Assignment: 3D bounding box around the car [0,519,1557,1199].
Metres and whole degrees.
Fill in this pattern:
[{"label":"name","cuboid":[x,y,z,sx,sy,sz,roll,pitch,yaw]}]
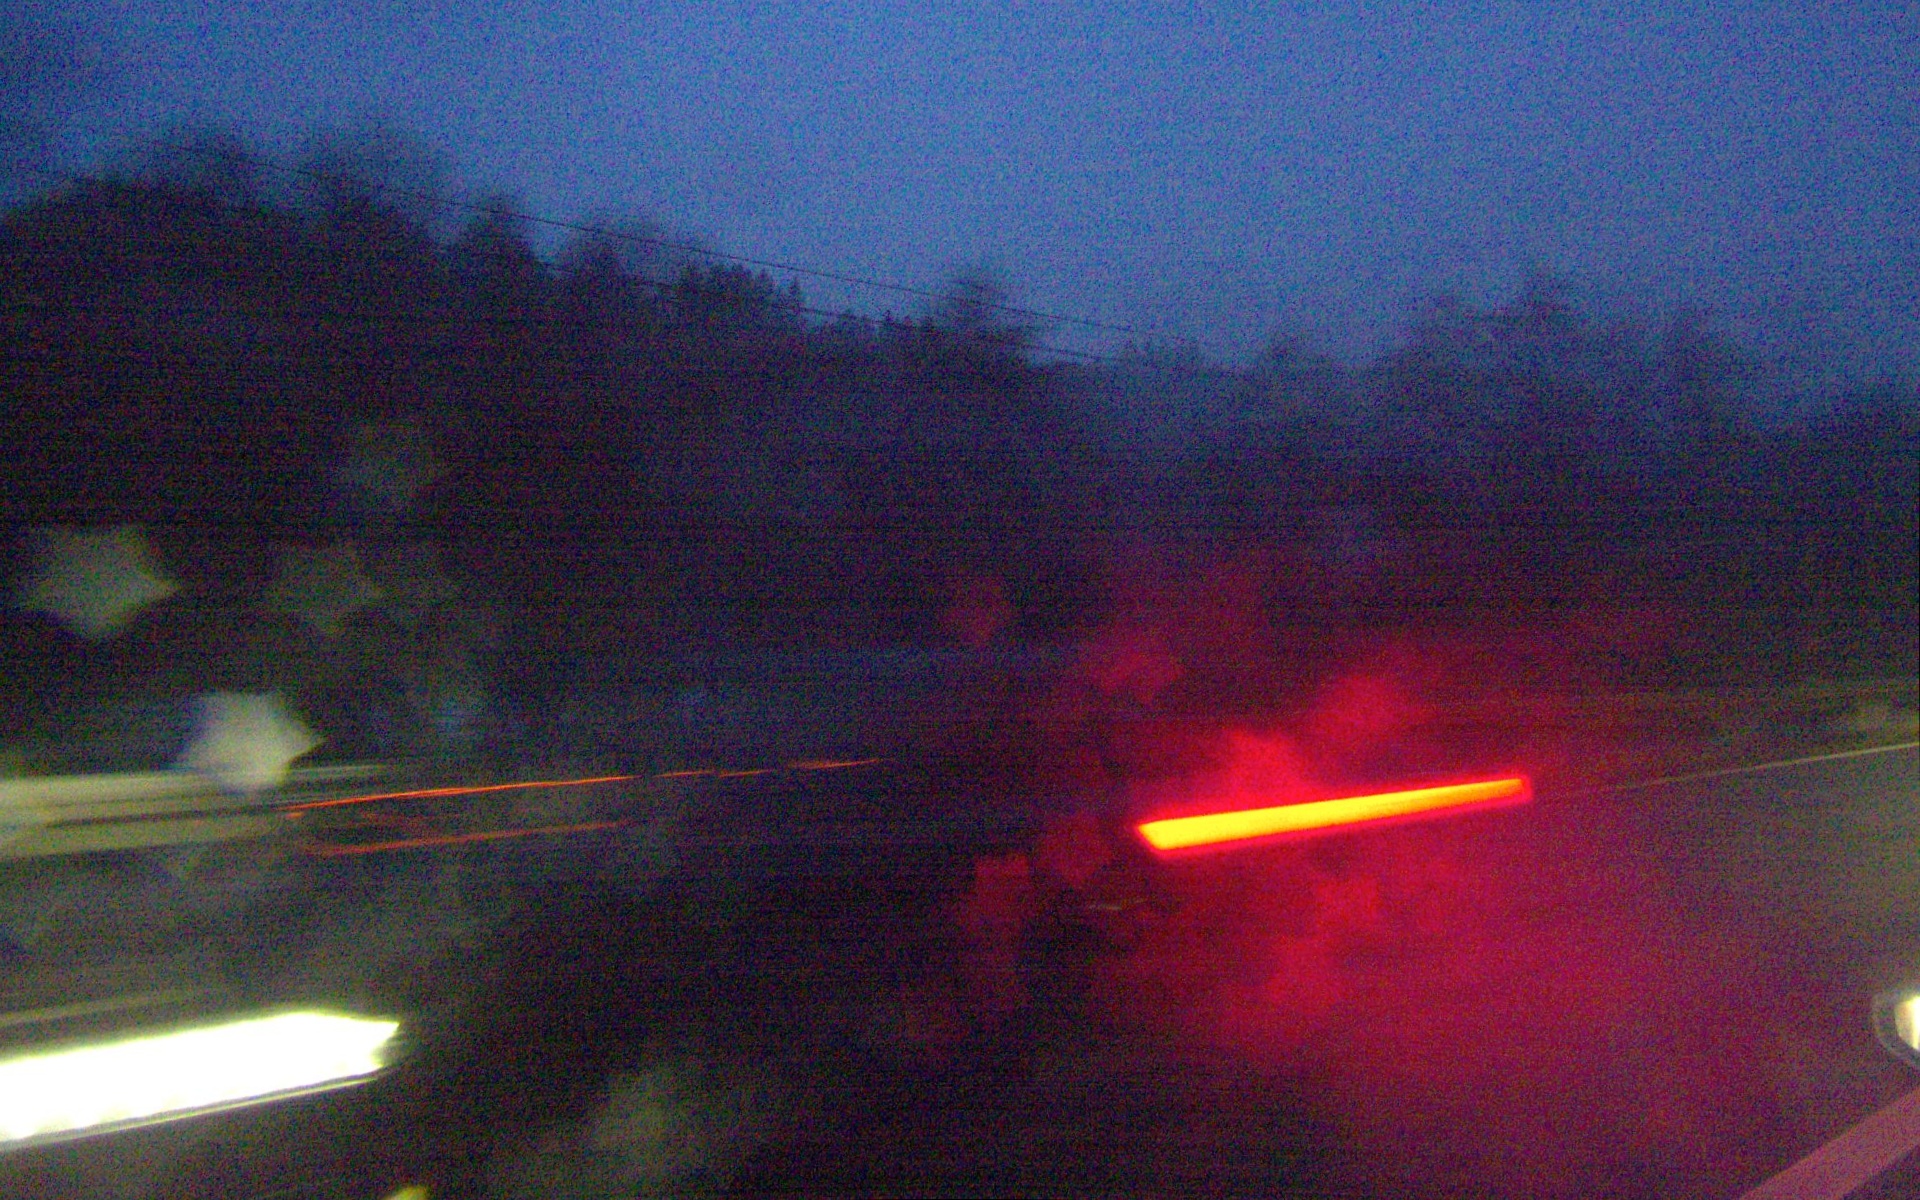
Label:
[{"label":"car","cuboid":[-0.198,0.673,3.212,4.342,1.491,1.826,1,-1,-32]}]
